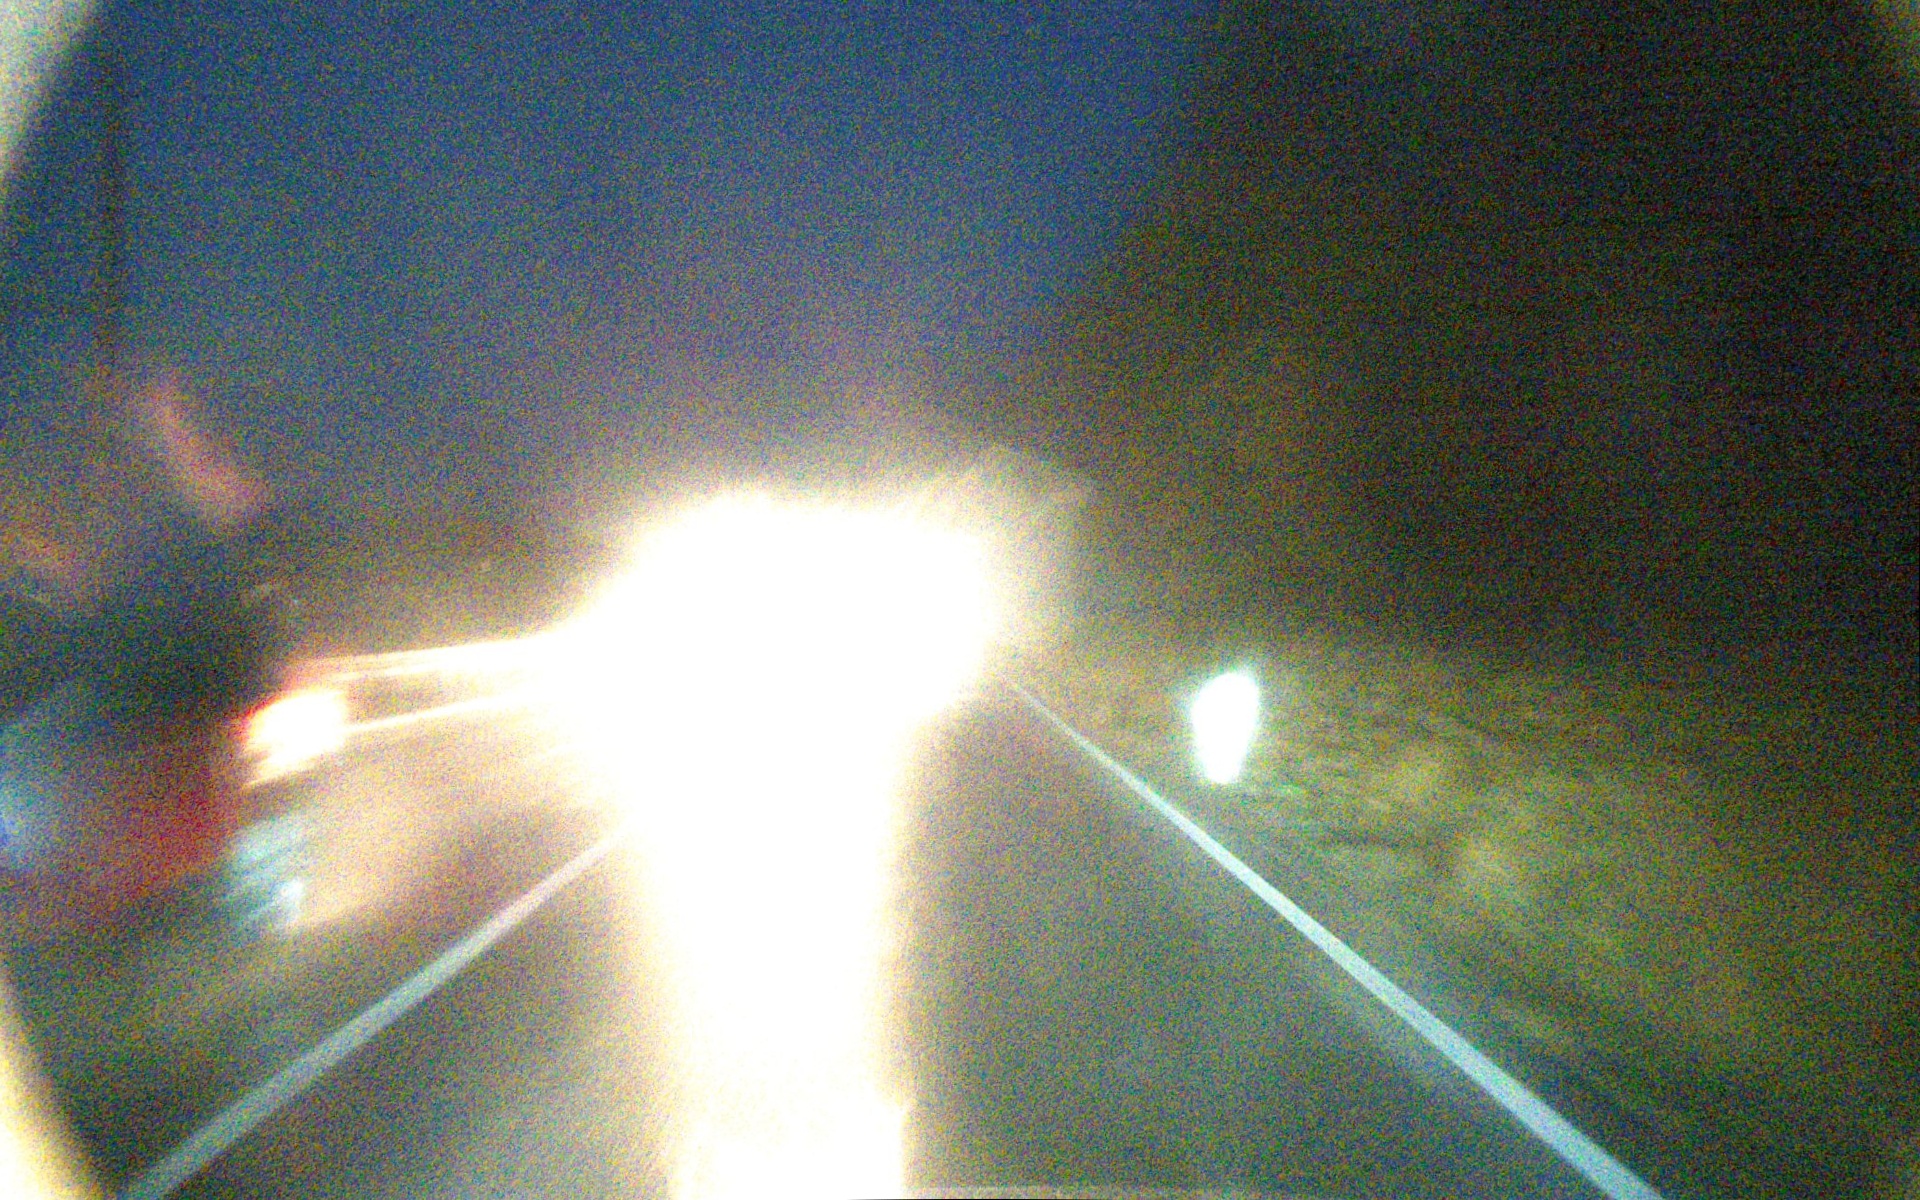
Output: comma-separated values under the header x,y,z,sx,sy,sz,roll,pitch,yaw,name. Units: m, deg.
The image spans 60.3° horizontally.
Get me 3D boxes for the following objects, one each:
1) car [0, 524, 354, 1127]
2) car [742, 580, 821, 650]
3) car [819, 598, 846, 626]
x,y,z,sx,sy,sz,roll,pitch,yaw,name
-3.557,0.607,5.089,1.884,1.643,4.085,0,0,0,car
-4.633,0.371,43.386,1.620,1.712,4.519,0,0,-1,car
-8.042,0.729,104.568,1.454,1.644,3.559,3,0,-2,car
